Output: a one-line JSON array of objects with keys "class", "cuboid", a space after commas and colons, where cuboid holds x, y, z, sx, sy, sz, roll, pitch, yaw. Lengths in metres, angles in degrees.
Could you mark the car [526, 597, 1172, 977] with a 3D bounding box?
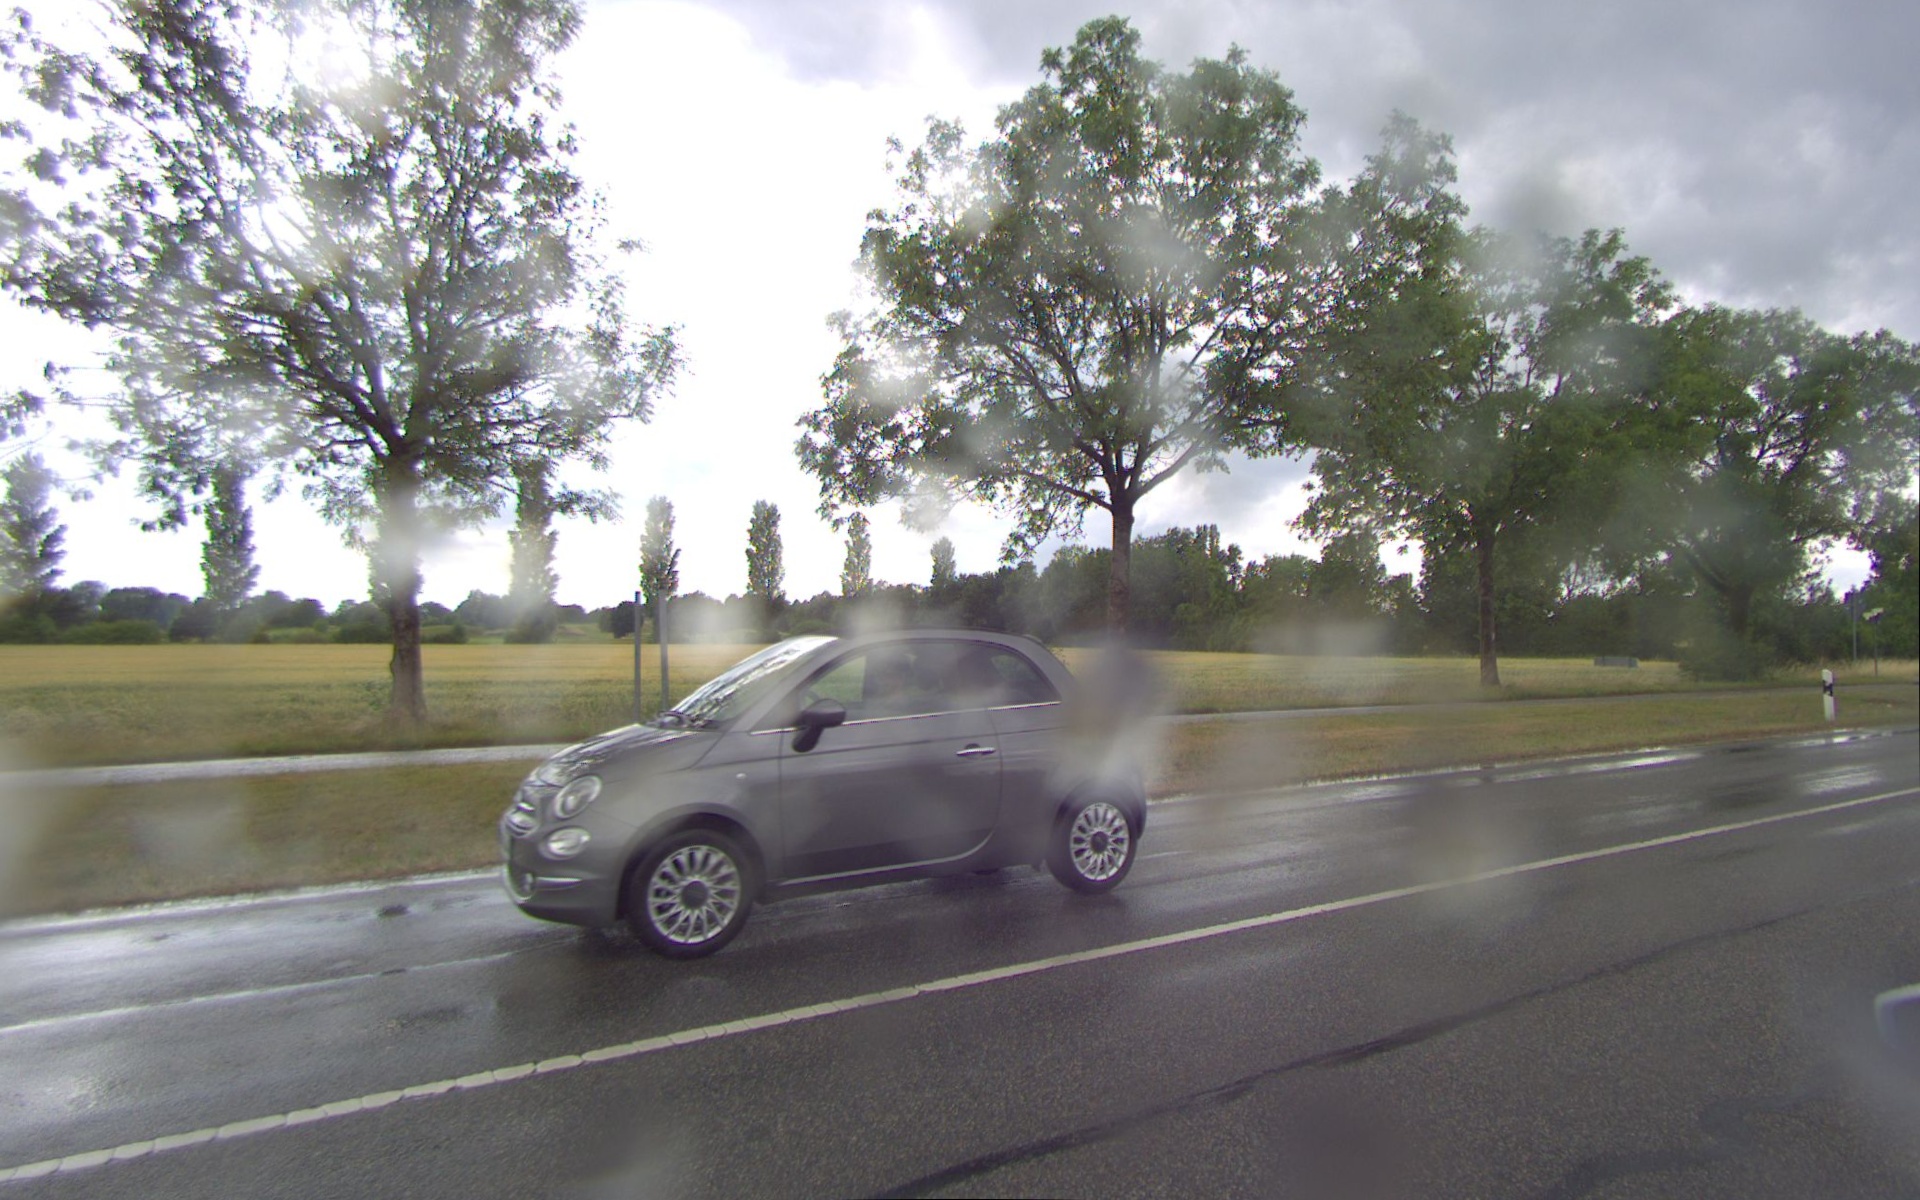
[{"class": "car", "cuboid": [-0.570, 0.841, 5.603, 3.261, 1.549, 1.494, 1, -4, -30]}]
